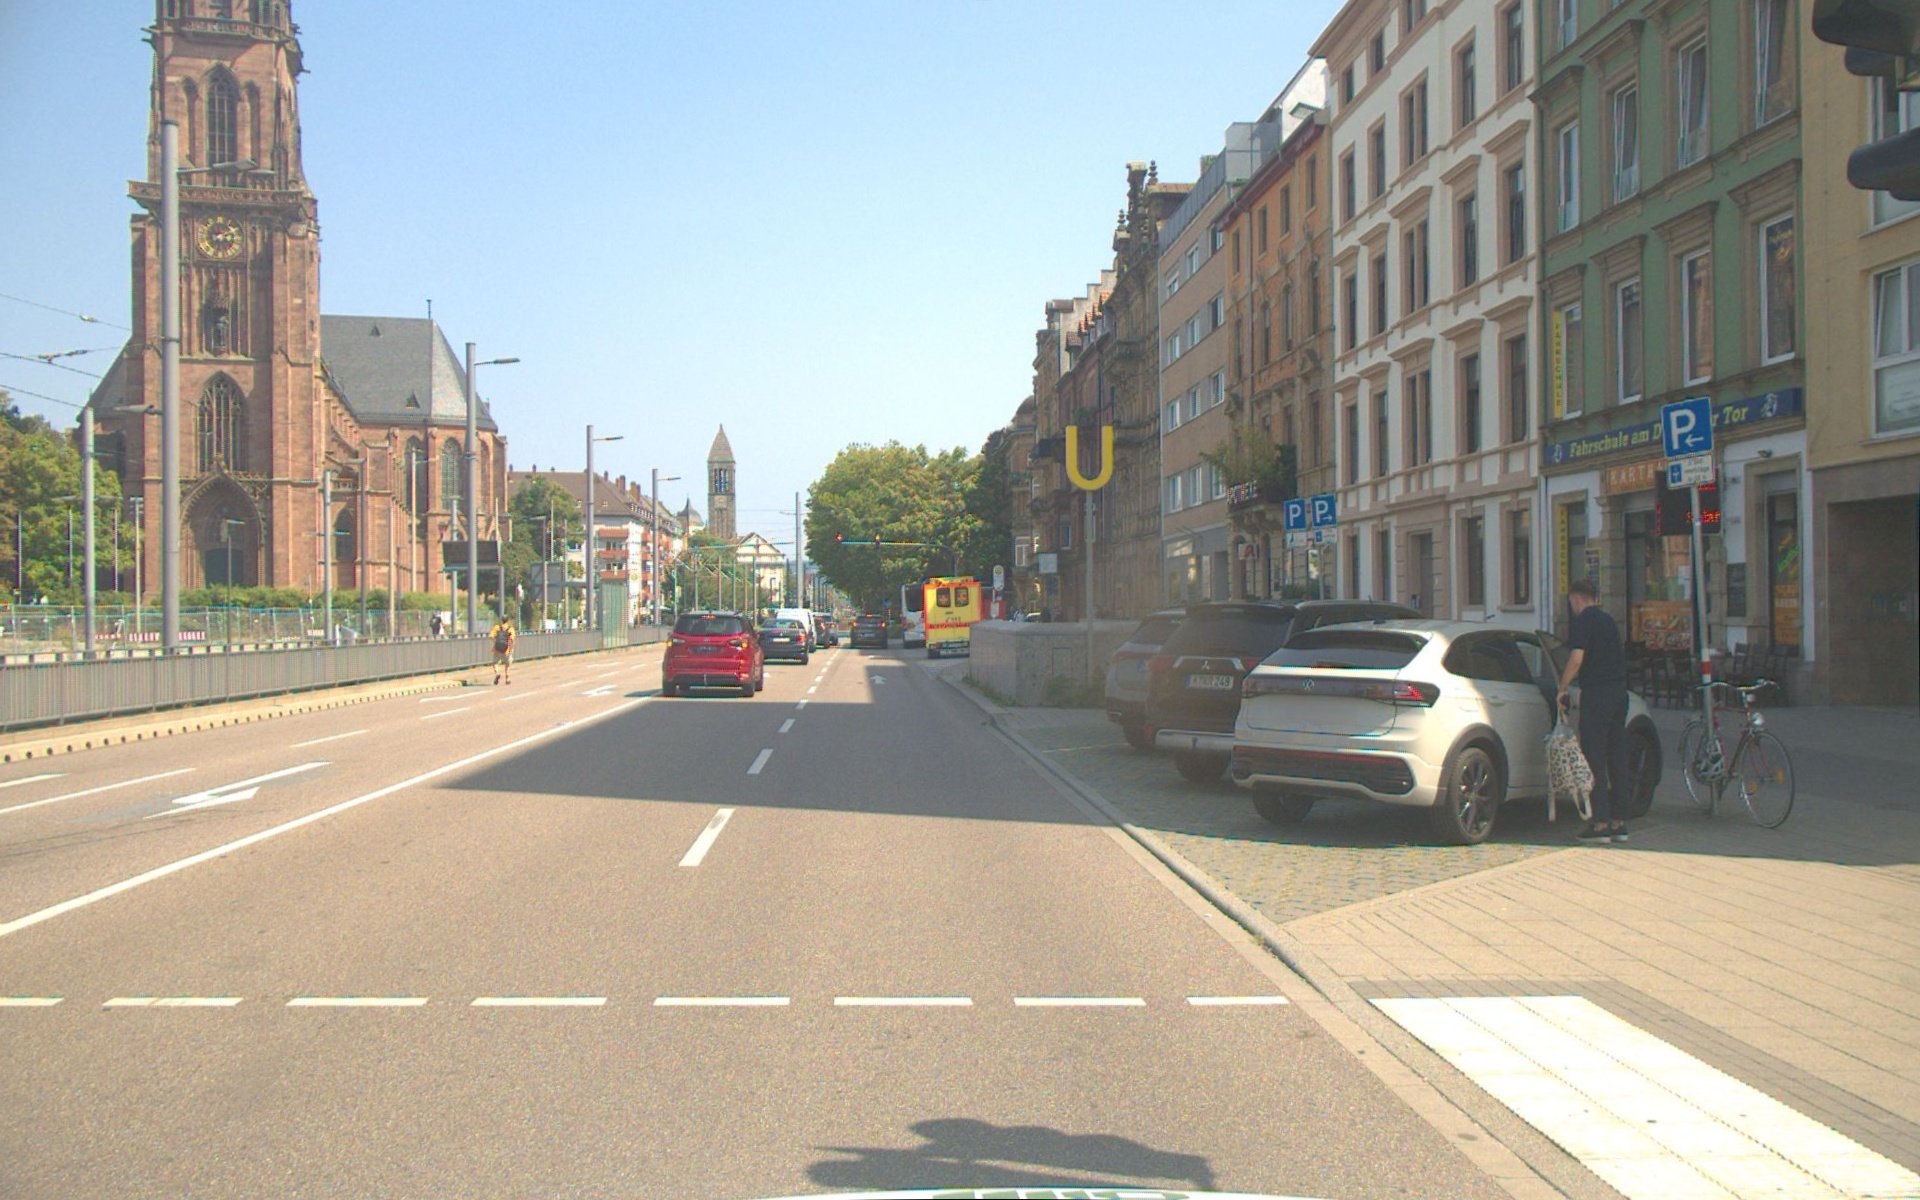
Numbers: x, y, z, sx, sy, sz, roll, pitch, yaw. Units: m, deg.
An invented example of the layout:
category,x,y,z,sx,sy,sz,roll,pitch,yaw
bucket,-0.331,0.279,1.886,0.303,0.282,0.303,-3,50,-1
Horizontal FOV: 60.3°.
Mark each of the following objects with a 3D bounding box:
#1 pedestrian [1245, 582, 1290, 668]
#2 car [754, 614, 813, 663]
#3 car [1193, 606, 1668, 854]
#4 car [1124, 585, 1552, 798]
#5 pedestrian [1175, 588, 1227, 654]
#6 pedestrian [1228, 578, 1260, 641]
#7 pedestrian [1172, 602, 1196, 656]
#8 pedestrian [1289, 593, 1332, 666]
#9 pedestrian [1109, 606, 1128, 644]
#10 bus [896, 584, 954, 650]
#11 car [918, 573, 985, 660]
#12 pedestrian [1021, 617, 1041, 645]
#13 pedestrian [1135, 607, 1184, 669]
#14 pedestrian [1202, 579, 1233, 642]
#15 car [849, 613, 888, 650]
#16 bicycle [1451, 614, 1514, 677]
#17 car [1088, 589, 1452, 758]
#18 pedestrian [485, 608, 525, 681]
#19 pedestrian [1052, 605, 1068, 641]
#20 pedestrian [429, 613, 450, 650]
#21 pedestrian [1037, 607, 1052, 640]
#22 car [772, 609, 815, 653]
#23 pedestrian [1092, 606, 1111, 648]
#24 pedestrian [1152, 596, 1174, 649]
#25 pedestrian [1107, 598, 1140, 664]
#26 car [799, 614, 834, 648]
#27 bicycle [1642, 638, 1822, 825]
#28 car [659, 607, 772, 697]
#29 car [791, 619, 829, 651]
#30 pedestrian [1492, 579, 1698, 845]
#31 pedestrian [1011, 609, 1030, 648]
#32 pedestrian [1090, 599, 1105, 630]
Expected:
category,x,y,z,sx,sy,sz,roll,pitch,yaw
pedestrian,6.277,0.508,33.800,0.657,1.715,0.942,-1,-1,-4
car,-5.545,1.181,52.325,1.755,1.456,3.996,-1,0,-5
car,3.624,0.858,12.401,3.756,1.526,1.778,2,0,-44
car,3.670,0.737,15.586,1.953,1.717,4.362,-1,-1,44
pedestrian,6.006,0.524,41.275,0.843,1.609,0.958,0,-1,-37
pedestrian,8.306,0.266,48.376,0.670,1.805,1.017,-1,0,-4
pedestrian,7.764,1.012,57.313,0.588,1.826,0.879,-3,-1,-4
pedestrian,9.158,0.767,43.274,0.826,1.878,0.684,-2,-1,-13
pedestrian,6.564,1.036,68.582,0.630,1.519,0.789,-1,-1,-4
bus,-1.927,0.881,85.240,2.483,3.085,12.426,-1,-1,-3
car,-0.277,0.587,60.614,2.252,2.939,5.599,-2,0,0
pedestrian,4.825,2.075,112.067,1.224,1.782,1.525,-1,1,-3
pedestrian,5.243,0.986,43.441,0.843,1.609,0.958,0,-1,-37
pedestrian,7.543,0.298,48.407,0.670,1.805,1.017,-1,0,-4
car,-4.484,1.544,80.615,1.755,1.707,3.995,0,-1,-5
bicycle,10.858,0.923,34.442,0.470,1.166,2.470,-1,2,-1
car,3.767,0.760,19.528,2.009,1.743,4.633,-1,0,44
pedestrian,-11.238,1.092,40.861,0.746,1.782,1.068,-1,-1,-5
pedestrian,4.701,1.081,77.727,0.682,1.696,0.602,0,-1,-2
pedestrian,-25.293,1.545,80.337,0.812,1.782,0.720,-1,-1,-3
pedestrian,4.351,1.220,84.972,0.682,1.696,1.064,0,-1,-2
car,-7.091,1.341,70.836,1.755,1.811,3.995,0,-1,-5
pedestrian,5.860,1.111,68.539,0.630,1.714,0.789,-1,-1,-4
pedestrian,7.026,0.783,57.279,0.566,1.781,0.678,-3,-1,-4
pedestrian,4.522,0.840,45.754,0.832,1.759,0.971,-2,1,3
car,-7.540,1.625,87.011,1.755,1.728,3.995,0,-1,-5
bicycle,5.894,0.961,12.732,0.463,1.319,1.791,-1,-2,-1
car,-4.773,0.978,32.767,1.727,1.646,4.081,-1,0,-2
car,-7.118,1.665,78.532,1.755,1.498,3.995,0,-1,-5
pedestrian,4.393,0.739,11.458,1.024,1.734,0.895,1,-1,-30
pedestrian,2.648,1.257,72.191,0.682,1.696,0.603,-1,-1,22
pedestrian,7.359,0.782,88.539,0.611,1.621,0.694,-1,-1,-9
